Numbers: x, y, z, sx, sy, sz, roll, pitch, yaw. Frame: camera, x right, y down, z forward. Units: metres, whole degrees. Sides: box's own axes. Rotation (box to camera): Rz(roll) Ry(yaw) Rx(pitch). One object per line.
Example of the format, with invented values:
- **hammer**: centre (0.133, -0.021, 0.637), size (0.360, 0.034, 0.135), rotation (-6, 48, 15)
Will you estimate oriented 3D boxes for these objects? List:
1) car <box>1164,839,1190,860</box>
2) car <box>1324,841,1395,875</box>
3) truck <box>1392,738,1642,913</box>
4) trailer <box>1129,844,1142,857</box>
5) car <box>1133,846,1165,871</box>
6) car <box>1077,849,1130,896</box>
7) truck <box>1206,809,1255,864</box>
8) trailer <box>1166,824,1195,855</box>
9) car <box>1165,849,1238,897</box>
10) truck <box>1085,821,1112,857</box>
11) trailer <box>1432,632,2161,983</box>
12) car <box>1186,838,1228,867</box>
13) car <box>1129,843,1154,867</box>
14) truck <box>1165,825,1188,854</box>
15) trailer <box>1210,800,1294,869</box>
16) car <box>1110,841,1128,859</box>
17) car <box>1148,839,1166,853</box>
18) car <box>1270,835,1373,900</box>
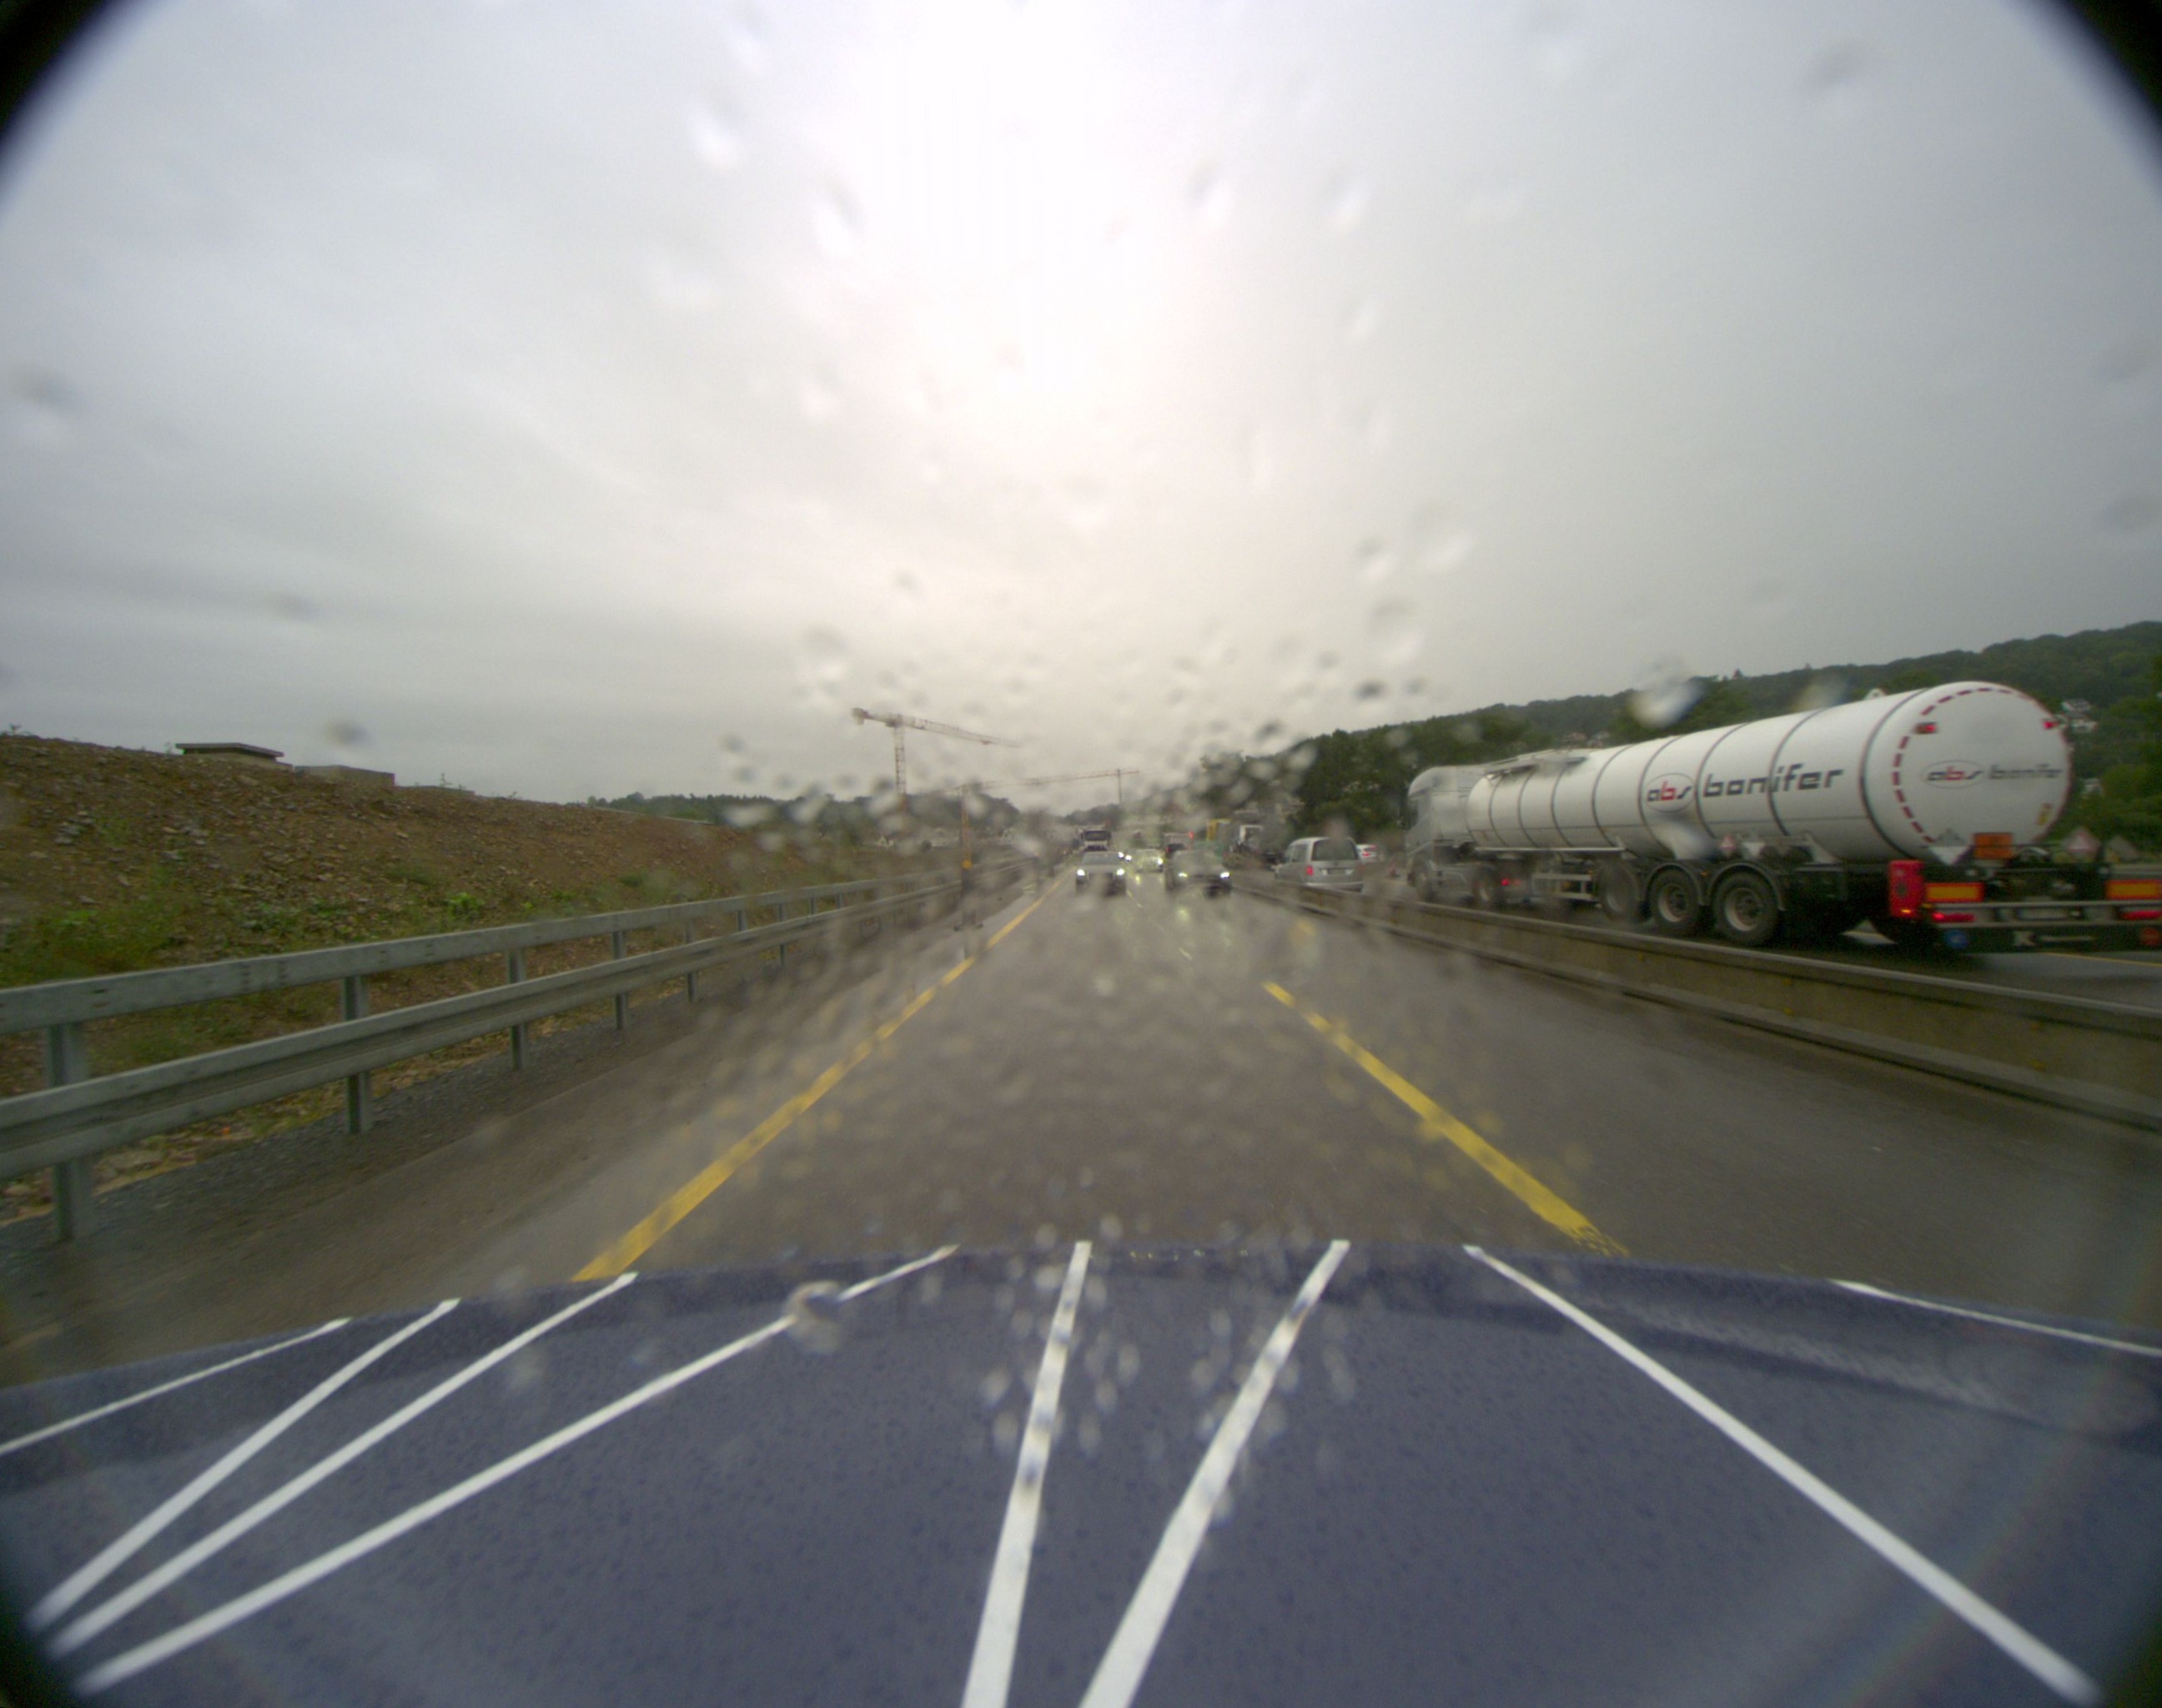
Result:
- **car**: centre (8.559, -0.404, 68.056), size (1.791, 1.795, 5.189), rotation (0, 1, 1)
- **car**: centre (18.193, 0.208, 49.915), size (2.072, 2.051, 4.837), rotation (-2, 1, -12)
- **truck**: centre (10.614, -0.636, 19.419), size (2.627, 3.656, 6.594), rotation (-2, 1, 1)
- **trailer**: centre (16.356, -1.041, 229.135), size (3.285, 3.885, 13.700), rotation (-2, 0, 2)
- **car**: centre (4.282, 0.256, 48.592), size (1.781, 1.430, 4.483), rotation (-2, 1, 2)
- **car**: centre (0.836, 0.608, 28.068), size (1.781, 1.514, 4.140), rotation (-2, 1, 2)
- **truck**: centre (11.684, -1.360, 60.015), size (2.756, 4.039, 6.147), rotation (-2, 1, 2)
- **trailer**: centre (12.940, -1.890, 99.513), size (2.692, 3.941, 9.818), rotation (0, 1, 1)
- **car**: centre (4.092, 0.589, 26.470), size (1.951, 1.430, 4.483), rotation (-2, 1, 2)
- **truck**: centre (1.812, -1.474, 76.712), size (2.575, 3.451, 6.626), rotation (-2, 1, 2)
- **trailer**: centre (10.525, -0.555, 14.054), size (2.627, 3.656, 12.002), rotation (-2, 1, 1)
- **car**: centre (8.091, -0.123, 49.038), size (1.998, 1.749, 4.687), rotation (-2, 1, 2)
- **car**: centre (5.132, 0.080, 64.108), size (1.998, 2.002, 4.002), rotation (-1, 0, 6)
- **truck**: centre (13.083, -1.973, 104.435), size (2.692, 3.904, 5.273), rotation (0, 1, 1)
- **trailer**: centre (11.468, -1.254, 52.835), size (2.756, 4.019, 15.357), rotation (-2, 1, 2)
- **car**: centre (4.655, -0.470, 93.168), size (1.998, 2.001, 4.188), rotation (-2, -1, 1)
- **car**: centre (9.771, -1.082, 98.324), size (1.879, 1.782, 5.359), rotation (-1, 1, 1)
- **car**: centre (7.277, 0.359, 23.435), size (1.870, 1.789, 4.162), rotation (-2, 1, 1)
